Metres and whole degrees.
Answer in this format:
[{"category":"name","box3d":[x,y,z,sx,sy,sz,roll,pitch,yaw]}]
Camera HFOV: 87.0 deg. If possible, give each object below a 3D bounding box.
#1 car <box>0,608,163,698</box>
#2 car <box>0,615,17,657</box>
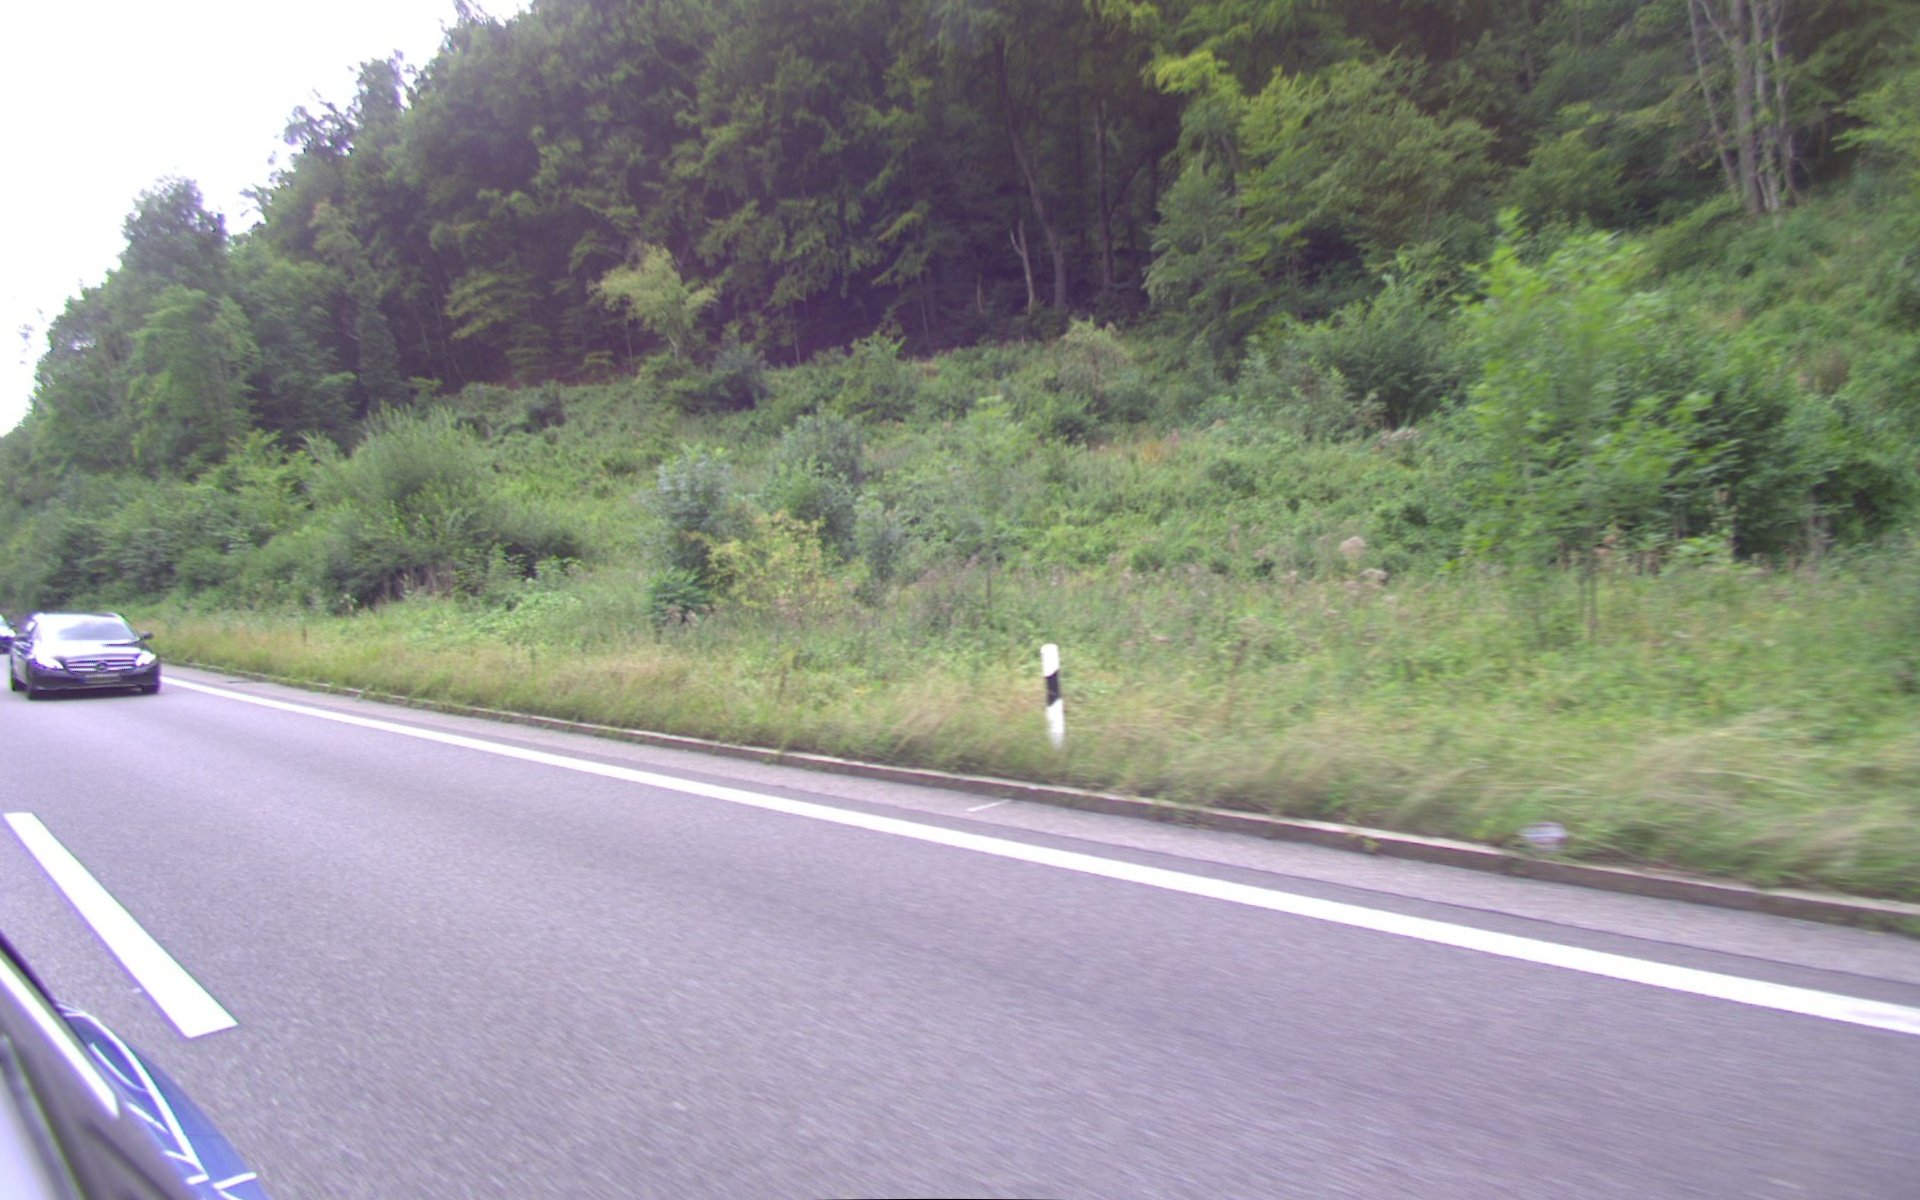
[{"category":"car","box3d":[-16.604,0.948,19.018,5.121,1.474,1.742,-2,-2,42]},{"category":"car","box3d":[-36.218,1.309,37.045,4.549,1.480,1.818,-1,-2,38]}]
